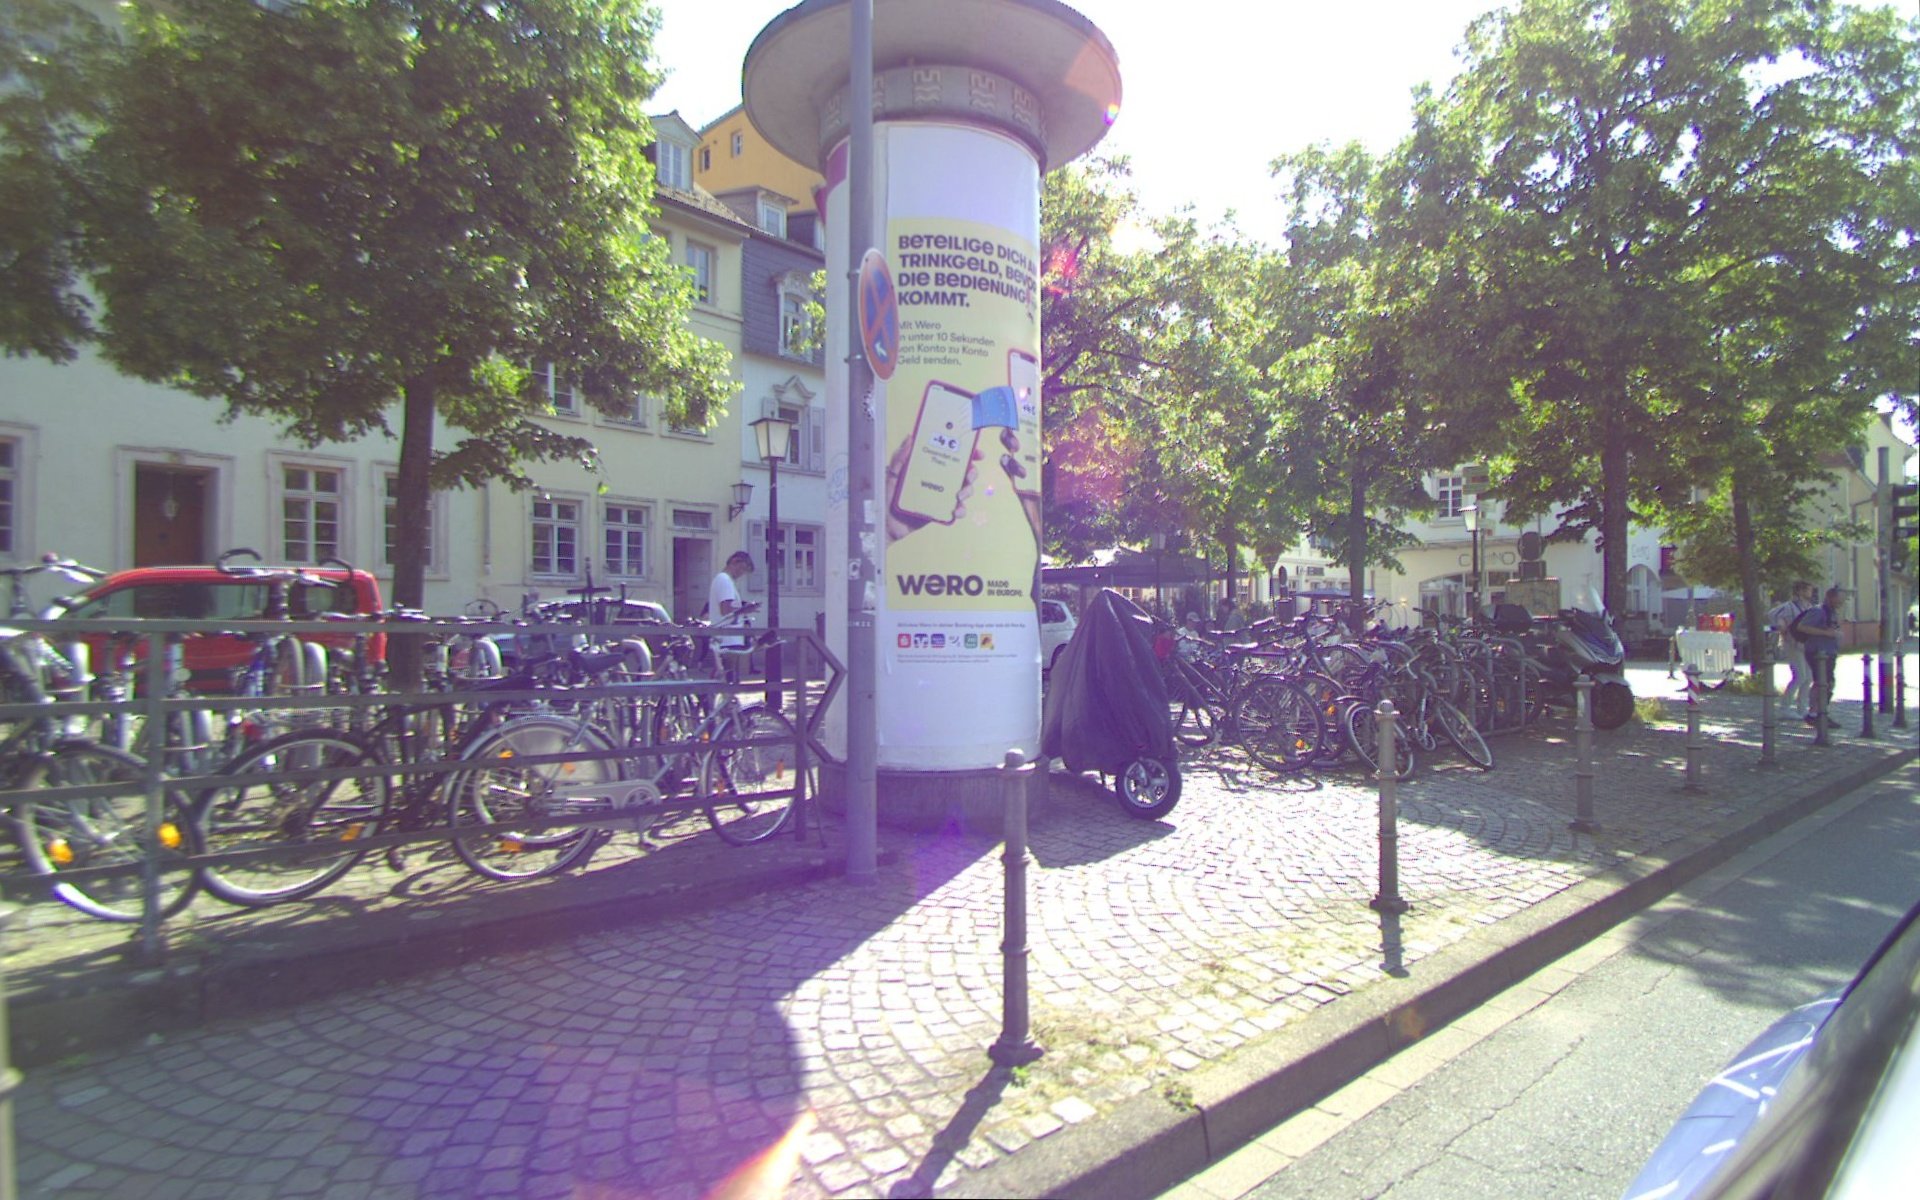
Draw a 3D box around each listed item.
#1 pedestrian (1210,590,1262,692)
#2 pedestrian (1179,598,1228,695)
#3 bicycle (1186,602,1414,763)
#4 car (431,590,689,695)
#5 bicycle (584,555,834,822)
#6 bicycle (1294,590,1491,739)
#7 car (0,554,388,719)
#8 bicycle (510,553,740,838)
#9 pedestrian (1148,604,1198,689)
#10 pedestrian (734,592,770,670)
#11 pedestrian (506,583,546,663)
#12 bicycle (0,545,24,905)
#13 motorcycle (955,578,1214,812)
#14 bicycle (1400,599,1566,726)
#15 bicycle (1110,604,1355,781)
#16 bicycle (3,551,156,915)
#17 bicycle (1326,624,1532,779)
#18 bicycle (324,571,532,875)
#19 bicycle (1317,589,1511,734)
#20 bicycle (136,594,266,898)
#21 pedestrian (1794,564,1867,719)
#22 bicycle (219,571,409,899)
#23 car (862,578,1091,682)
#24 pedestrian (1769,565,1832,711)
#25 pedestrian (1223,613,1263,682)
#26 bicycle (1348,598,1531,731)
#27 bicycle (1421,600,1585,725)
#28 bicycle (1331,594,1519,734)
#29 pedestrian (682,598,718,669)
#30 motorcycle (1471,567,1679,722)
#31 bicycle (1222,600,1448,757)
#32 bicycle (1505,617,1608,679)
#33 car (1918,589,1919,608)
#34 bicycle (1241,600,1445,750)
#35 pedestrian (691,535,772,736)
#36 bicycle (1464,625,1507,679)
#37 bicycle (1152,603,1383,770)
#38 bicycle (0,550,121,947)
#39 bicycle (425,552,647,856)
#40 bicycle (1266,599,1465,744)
[{"bbox_3d":[4.249,0.607,15.561,0.655,1.527,0.493,0,0,-42],"label":"pedestrian"},{"bbox_3d":[3.836,0.716,15.959,0.569,1.478,0.493,0,0,-37],"label":"pedestrian"},{"bbox_3d":[2.772,0.622,8.405,1.749,1.147,0.456,3,2,45],"label":"bicycle"},{"bbox_3d":[-6.344,0.648,16.235,3.499,1.497,1.586,2,-1,-42],"label":"car"},{"bbox_3d":[-1.628,0.424,6.243,0.574,1.385,2.159,0,2,-41],"label":"bicycle"},{"bbox_3d":[3.983,0.551,9.427,1.628,1.232,0.407,3,2,45],"label":"bicycle"},{"bbox_3d":[-10.096,0.432,12.829,4.653,1.823,1.834,2,-1,-42],"label":"car"},{"bbox_3d":[-2.027,0.431,5.890,0.468,1.385,2.159,0,2,-41],"label":"bicycle"},{"bbox_3d":[3.294,0.701,15.653,0.569,1.279,0.493,0,0,-37],"label":"pedestrian"},{"bbox_3d":[-4.429,0.639,21.591,0.617,1.633,0.425,0,0,-41],"label":"pedestrian"},{"bbox_3d":[-8.253,0.432,19.245,0.557,1.495,0.508,0,0,-41],"label":"pedestrian"},{"bbox_3d":[-4.282,0.416,4.237,0.468,1.277,2.159,0,2,-41],"label":"bicycle"},{"bbox_3d":[0.714,0.518,6.923,0.709,1.291,2.543,-1,0,-19],"label":"motorcycle"},{"bbox_3d":[5.394,0.599,10.546,0.416,1.184,1.636,1,1,-23],"label":"bicycle"},{"bbox_3d":[2.046,0.644,7.768,1.748,1.147,0.532,3,2,42],"label":"bicycle"},{"bbox_3d":[-3.903,0.434,4.497,0.414,1.277,2.159,0,2,-41],"label":"bicycle"},{"bbox_3d":[3.566,0.719,7.652,1.719,1.021,0.541,0,0,-31],"label":"bicycle"},{"bbox_3d":[-2.835,0.499,5.266,0.468,1.277,2.159,0,2,-41],"label":"bicycle"},{"bbox_3d":[4.304,0.539,9.688,1.628,1.232,0.407,3,2,45],"label":"bicycle"},{"bbox_3d":[-3.578,0.549,4.715,0.332,1.106,2.027,0,2,-41],"label":"bicycle"},{"bbox_3d":[10.419,0.476,12.113,0.571,1.800,0.541,1,0,-37],"label":"pedestrian"},{"bbox_3d":[-3.223,0.506,4.954,0.468,1.277,2.159,0,2,-41],"label":"bicycle"},{"bbox_3d":[0.402,0.617,19.750,4.383,1.815,1.836,2,-4,-42],"label":"car"},{"bbox_3d":[10.703,0.467,12.890,0.573,1.800,0.540,1,0,-43],"label":"pedestrian"},{"bbox_3d":[4.636,0.766,16.595,0.518,1.088,0.424,0,0,-42],"label":"pedestrian"},{"bbox_3d":[4.800,0.607,10.223,1.628,1.184,0.345,3,2,45],"label":"bicycle"},{"bbox_3d":[5.669,0.611,10.669,0.359,1.184,1.636,1,1,-23],"label":"bicycle"},{"bbox_3d":[4.570,0.587,10.031,1.628,1.232,0.407,3,2,45],"label":"bicycle"},{"bbox_3d":[-5.642,0.716,21.963,0.424,1.495,0.605,-1,0,45],"label":"pedestrian"},{"bbox_3d":[6.734,0.436,11.263,0.782,1.547,2.204,-1,0,-6],"label":"motorcycle"},{"bbox_3d":[3.150,0.611,8.637,1.749,1.147,0.456,3,2,45],"label":"bicycle"},{"bbox_3d":[11.811,0.929,20.112,0.322,1.145,1.887,1,0,-26],"label":"bicycle"},{"bbox_3d":[88.028,-0.073,90.819,1.983,1.781,4.544,-1,2,30],"label":"car"},{"bbox_3d":[3.324,0.609,8.889,1.628,1.147,0.407,3,2,45],"label":"bicycle"},{"bbox_3d":[-2.094,0.314,9.261,0.493,1.767,0.541,0,-2,-40],"label":"pedestrian"},{"bbox_3d":[10.317,1.000,19.896,0.324,0.991,1.621,1,0,12],"label":"bicycle"},{"bbox_3d":[2.432,0.634,8.178,1.749,1.147,0.456,3,2,45],"label":"bicycle"},{"bbox_3d":[-3.790,0.483,2.883,2.127,1.277,0.475,-1,2,-44],"label":"bicycle"},{"bbox_3d":[-2.402,0.439,5.562,0.468,1.385,2.159,0,2,-41],"label":"bicycle"},{"bbox_3d":[3.634,0.599,9.180,1.628,1.147,0.407,3,2,45],"label":"bicycle"}]
